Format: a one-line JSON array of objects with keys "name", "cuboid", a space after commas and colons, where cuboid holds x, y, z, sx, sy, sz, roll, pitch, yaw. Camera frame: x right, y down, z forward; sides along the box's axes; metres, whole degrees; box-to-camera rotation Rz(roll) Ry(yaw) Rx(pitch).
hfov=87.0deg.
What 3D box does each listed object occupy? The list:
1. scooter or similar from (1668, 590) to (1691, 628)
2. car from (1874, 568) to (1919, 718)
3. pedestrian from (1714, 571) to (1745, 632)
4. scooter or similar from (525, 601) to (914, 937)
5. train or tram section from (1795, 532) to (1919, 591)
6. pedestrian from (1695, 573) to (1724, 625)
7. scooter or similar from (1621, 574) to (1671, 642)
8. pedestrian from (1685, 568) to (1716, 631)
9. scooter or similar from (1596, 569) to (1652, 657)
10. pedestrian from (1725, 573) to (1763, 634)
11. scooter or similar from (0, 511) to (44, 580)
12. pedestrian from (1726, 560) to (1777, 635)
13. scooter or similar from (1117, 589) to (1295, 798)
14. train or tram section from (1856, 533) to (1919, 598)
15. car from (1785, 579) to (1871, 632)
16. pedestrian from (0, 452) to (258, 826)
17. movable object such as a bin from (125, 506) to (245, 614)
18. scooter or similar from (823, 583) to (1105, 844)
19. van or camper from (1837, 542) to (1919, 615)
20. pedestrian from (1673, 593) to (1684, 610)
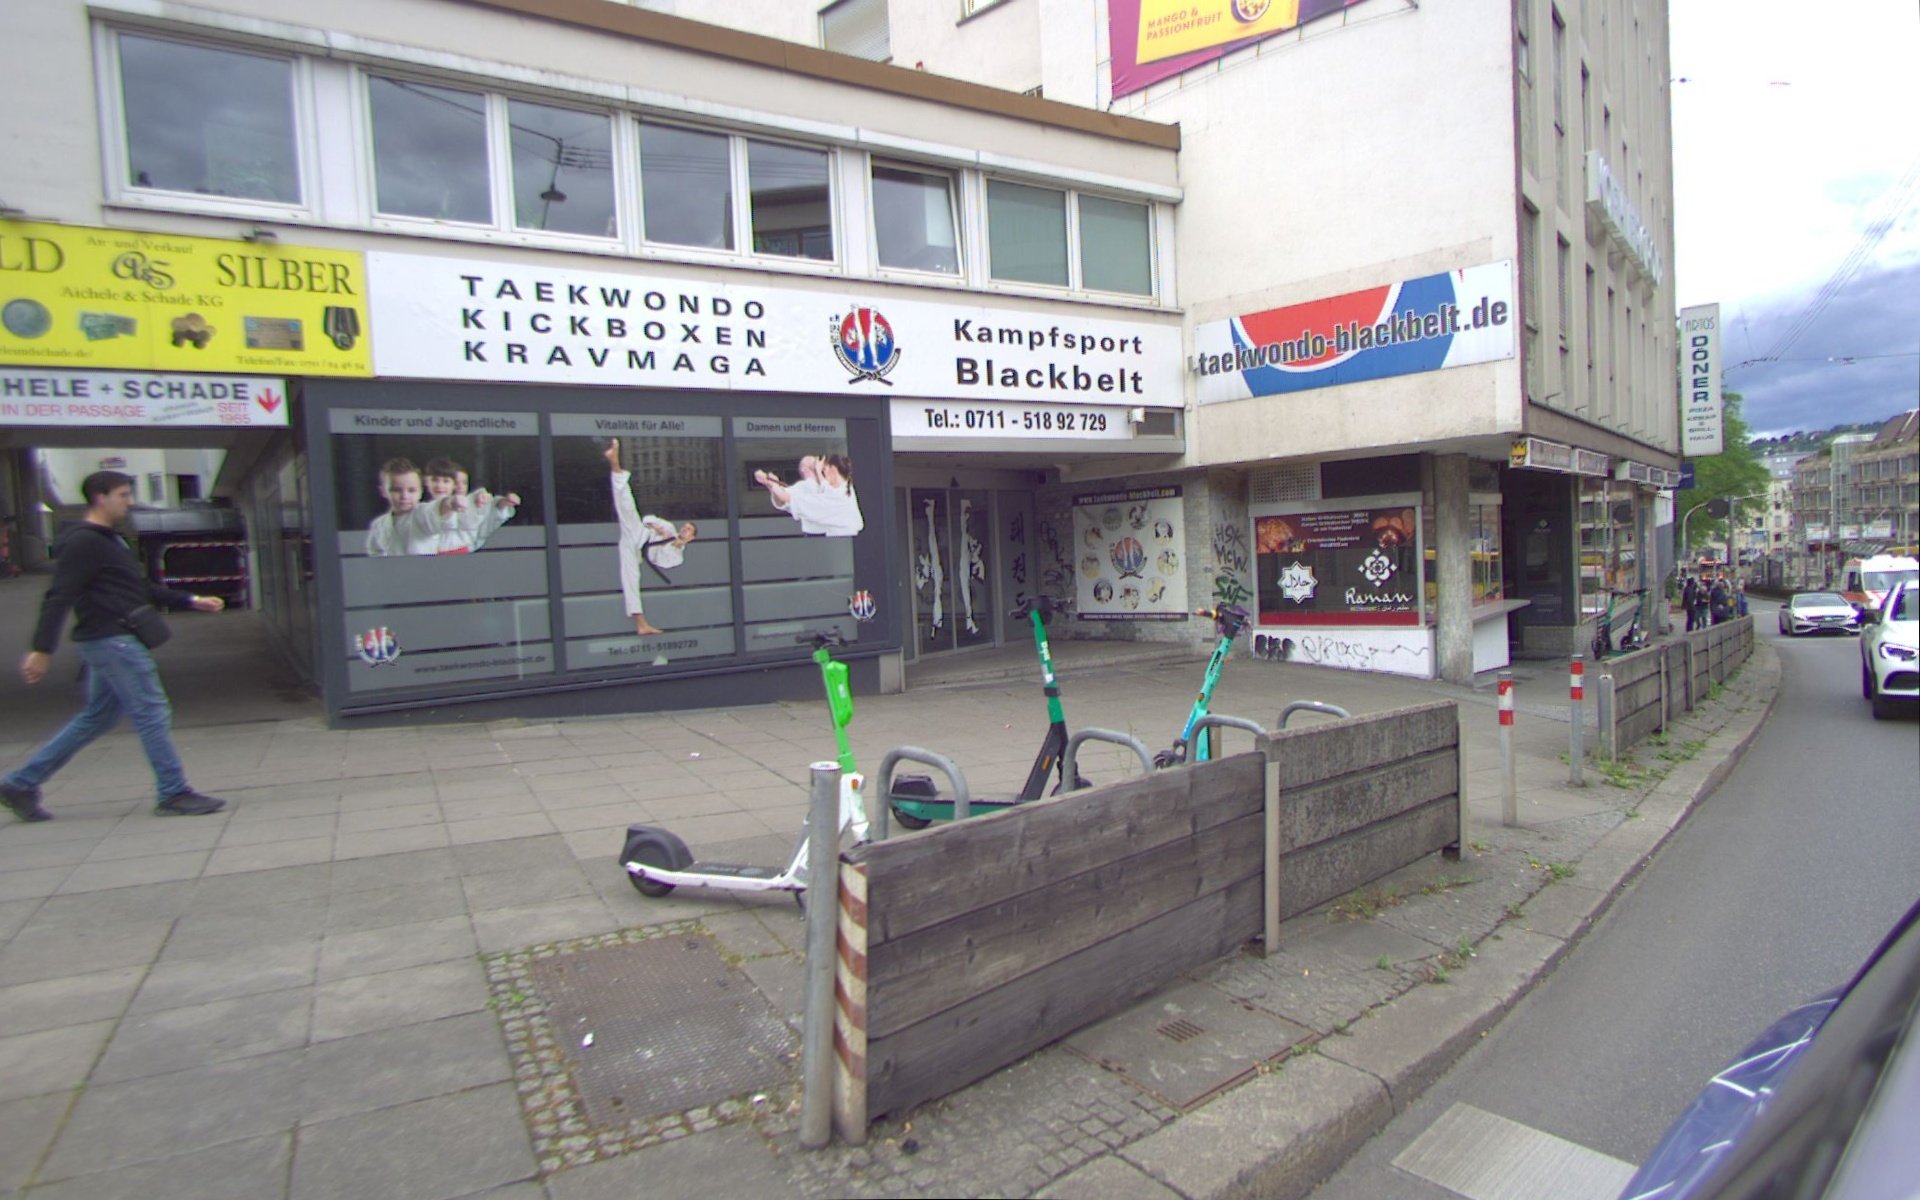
[{"name": "scooter or similar", "cuboid": [24.944, 0.323, 35.062, 0.963, 1.292, 0.428, -1, -1, -42]}, {"name": "car", "cuboid": [12.628, 0.407, 12.408, 1.929, 1.652, 4.698, -2, 0, 44]}, {"name": "pedestrian", "cuboid": [21.916, 0.043, 28.823, 0.561, 1.671, 0.583, 5, 4, 37]}, {"name": "scooter or similar", "cuboid": [-0.959, 0.622, 4.146, 1.423, 1.197, 0.581, 1, 0, 11]}, {"name": "train or tram section", "cuboid": [61.031, -2.473, 69.289, 2.863, 3.463, 14.093, -4, -1, 27]}, {"name": "pedestrian", "cuboid": [26.721, -0.034, 36.100, 0.718, 1.808, 0.872, -3, -1, 35]}, {"name": "scooter or similar", "cuboid": [13.233, 0.143, 19.520, 0.630, 1.265, 1.313, -1, 0, 41]}, {"name": "pedestrian", "cuboid": [22.134, -0.019, 30.261, 0.725, 1.831, 0.645, 0, 0, 39]}, {"name": "scooter or similar", "cuboid": [11.766, 0.213, 17.923, 0.667, 1.494, 1.161, -1, 0, 41]}, {"name": "pedestrian", "cuboid": [24.316, 0.105, 31.385, 0.736, 1.817, 0.646, -8, -4, 38]}, {"name": "scooter or similar", "cuboid": [-19.343, -1.062, 19.924, 1.774, 1.296, 0.781, -2, -1, -28]}, {"name": "pedestrian", "cuboid": [23.639, -0.088, 30.246, 0.946, 2.086, 0.768, 9, 6, 38]}, {"name": "scooter or similar", "cuboid": [1.459, 0.543, 6.086, 0.995, 1.197, 0.375, -1, 0, 11]}, {"name": "train or tram section", "cuboid": [54.515, -1.982, 56.876, 2.864, 3.485, 14.089, -4, -1, 28]}, {"name": "car", "cuboid": [29.195, 0.145, 34.146, 1.659, 1.549, 3.952, -4, -1, 34]}, {"name": "pedestrian", "cuboid": [-4.577, 0.171, 5.480, 1.127, 1.832, 0.838, -1, 2, -26]}, {"name": "movable object such as a bin", "cuboid": [-11.498, -0.623, 15.077, 1.328, 1.473, 1.243, -2, 7, -36]}, {"name": "scooter or similar", "cuboid": [0.041, 0.552, 5.384, 1.422, 1.270, 0.555, 1, 0, 11]}, {"name": "van or camper", "cuboid": [35.996, -0.852, 39.091, 2.193, 2.591, 6.299, -3, -1, 33]}, {"name": "pedestrian", "cuboid": [40.233, 0.080, 56.675, 0.482, 0.922, 0.575, 0, -1, 36]}]
